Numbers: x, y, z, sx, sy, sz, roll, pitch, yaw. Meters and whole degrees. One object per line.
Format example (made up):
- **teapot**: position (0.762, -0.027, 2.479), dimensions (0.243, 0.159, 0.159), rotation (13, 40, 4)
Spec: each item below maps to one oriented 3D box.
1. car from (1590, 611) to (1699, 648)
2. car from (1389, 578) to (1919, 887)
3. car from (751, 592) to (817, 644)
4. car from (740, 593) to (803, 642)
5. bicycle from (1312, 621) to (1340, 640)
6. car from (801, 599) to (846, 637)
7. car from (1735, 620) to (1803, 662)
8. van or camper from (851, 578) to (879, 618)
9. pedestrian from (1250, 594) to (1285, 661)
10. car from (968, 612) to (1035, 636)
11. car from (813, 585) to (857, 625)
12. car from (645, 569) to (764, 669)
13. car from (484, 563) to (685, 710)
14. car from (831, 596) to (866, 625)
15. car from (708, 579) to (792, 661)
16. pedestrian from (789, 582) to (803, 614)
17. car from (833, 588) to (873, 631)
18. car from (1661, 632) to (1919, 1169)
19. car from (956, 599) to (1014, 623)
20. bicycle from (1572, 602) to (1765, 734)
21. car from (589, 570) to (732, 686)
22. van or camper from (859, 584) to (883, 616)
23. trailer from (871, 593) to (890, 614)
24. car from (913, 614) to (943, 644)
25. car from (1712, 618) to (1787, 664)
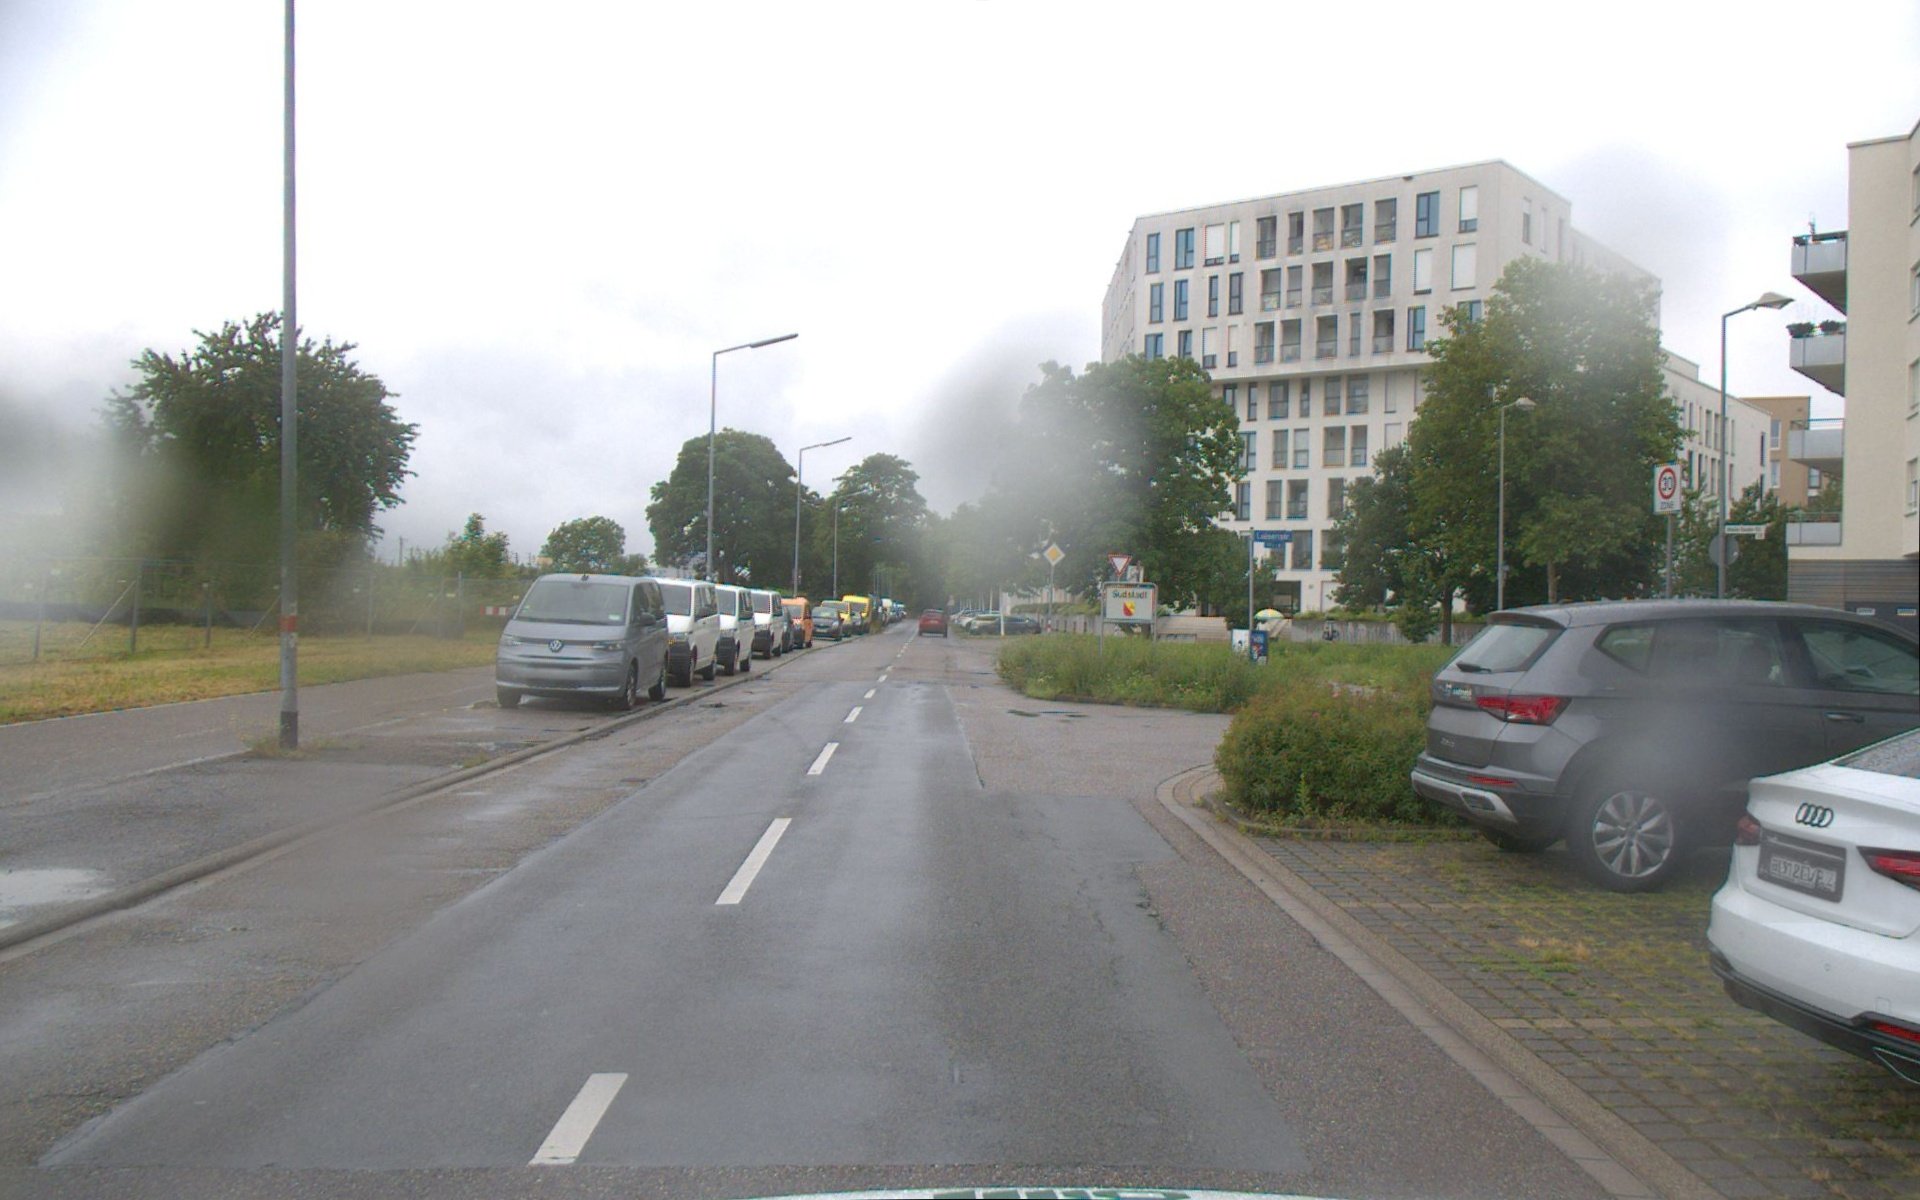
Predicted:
- **car**: position (34.296, 1.458, 82.888), dimensions (4.748, 1.533, 1.616), rotation (4, 1, 40)
- **car**: position (4.888, 0.714, 10.070), dimensions (4.007, 1.652, 1.965), rotation (-1, 0, -3)
- **car**: position (-6.482, 0.665, 61.403), dimensions (1.900, 1.798, 4.331), rotation (2, 0, 1)
- **car**: position (-6.397, 0.577, 56.522), dimensions (1.649, 1.528, 4.890), rotation (2, 0, -1)
- **bicycle**: position (20.117, 1.676, 90.899), dimensions (0.711, 1.051, 2.064), rotation (1, -1, 38)
- **car**: position (-6.434, 0.817, 78.375), dimensions (1.767, 1.588, 4.032), rotation (4, 0, -1)
- **car**: position (32.614, 1.648, 66.639), dimensions (1.701, 1.575, 3.983), rotation (1, 0, 37)
- **van or camper**: position (-7.996, -0.114, 139.390), dimensions (2.053, 3.148, 6.421), rotation (4, -1, -2)
- **pedestrian**: position (9.659, 0.857, 52.017), dimensions (0.945, 2.049, 0.622), rotation (1, 0, -1)
- **car**: position (2.736, 1.594, 110.660), dimensions (4.397, 1.507, 1.691), rotation (-1, 0, -2)
- **car**: position (-6.855, 0.287, 91.068), dimensions (1.976, 1.990, 6.063), rotation (4, -1, -1)
- **car**: position (-5.858, 0.417, 38.569), dimensions (1.920, 2.094, 5.273), rotation (3, 0, -1)
- **car**: position (-5.542, 0.503, 25.065), dimensions (1.916, 1.935, 4.994), rotation (2, 0, -1)
- **car**: position (-6.941, 0.665, 103.362), dimensions (1.954, 1.621, 5.015), rotation (4, -1, -2)
- **car**: position (-6.273, 0.556, 49.998), dimensions (1.903, 2.275, 5.556), rotation (2, 0, -1)
- **pedestrian**: position (-10.709, -0.142, 107.901), dimensions (0.727, 2.049, 0.980), rotation (3, 0, -1)
- **car**: position (-7.396, 0.640, 115.095), dimensions (2.147, 2.741, 6.081), rotation (4, 0, 0)
- **car**: position (4.752, 0.819, 5.168), dimensions (4.320, 1.429, 1.910), rotation (0, 0, -2)
- **car**: position (1.996, 0.871, 133.596), dimensions (4.450, 1.714, 1.884), rotation (-3, 0, -4)
- **bicycle**: position (8.704, 0.812, 20.414), dimensions (2.142, 1.549, 0.631), rotation (1, 0, 19)
- **car**: position (-5.779, 0.510, 32.586), dimensions (1.856, 2.049, 5.257), rotation (2, 0, -1)
- **van or camper**: position (-8.361, 0.060, 155.693), dimensions (2.053, 2.762, 7.569), rotation (4, -1, -3)
- **trailer**: position (-9.098, 0.448, 189.655), dimensions (2.018, 2.256, 5.791), rotation (3, 0, -3)
- **car**: position (-2.038, 1.812, 104.487), dimensions (1.721, 1.735, 3.998), rotation (3, -1, -2)
- **car**: position (29.228, 1.510, 61.211), dimensions (1.701, 1.575, 4.103), rotation (1, 0, 37)
